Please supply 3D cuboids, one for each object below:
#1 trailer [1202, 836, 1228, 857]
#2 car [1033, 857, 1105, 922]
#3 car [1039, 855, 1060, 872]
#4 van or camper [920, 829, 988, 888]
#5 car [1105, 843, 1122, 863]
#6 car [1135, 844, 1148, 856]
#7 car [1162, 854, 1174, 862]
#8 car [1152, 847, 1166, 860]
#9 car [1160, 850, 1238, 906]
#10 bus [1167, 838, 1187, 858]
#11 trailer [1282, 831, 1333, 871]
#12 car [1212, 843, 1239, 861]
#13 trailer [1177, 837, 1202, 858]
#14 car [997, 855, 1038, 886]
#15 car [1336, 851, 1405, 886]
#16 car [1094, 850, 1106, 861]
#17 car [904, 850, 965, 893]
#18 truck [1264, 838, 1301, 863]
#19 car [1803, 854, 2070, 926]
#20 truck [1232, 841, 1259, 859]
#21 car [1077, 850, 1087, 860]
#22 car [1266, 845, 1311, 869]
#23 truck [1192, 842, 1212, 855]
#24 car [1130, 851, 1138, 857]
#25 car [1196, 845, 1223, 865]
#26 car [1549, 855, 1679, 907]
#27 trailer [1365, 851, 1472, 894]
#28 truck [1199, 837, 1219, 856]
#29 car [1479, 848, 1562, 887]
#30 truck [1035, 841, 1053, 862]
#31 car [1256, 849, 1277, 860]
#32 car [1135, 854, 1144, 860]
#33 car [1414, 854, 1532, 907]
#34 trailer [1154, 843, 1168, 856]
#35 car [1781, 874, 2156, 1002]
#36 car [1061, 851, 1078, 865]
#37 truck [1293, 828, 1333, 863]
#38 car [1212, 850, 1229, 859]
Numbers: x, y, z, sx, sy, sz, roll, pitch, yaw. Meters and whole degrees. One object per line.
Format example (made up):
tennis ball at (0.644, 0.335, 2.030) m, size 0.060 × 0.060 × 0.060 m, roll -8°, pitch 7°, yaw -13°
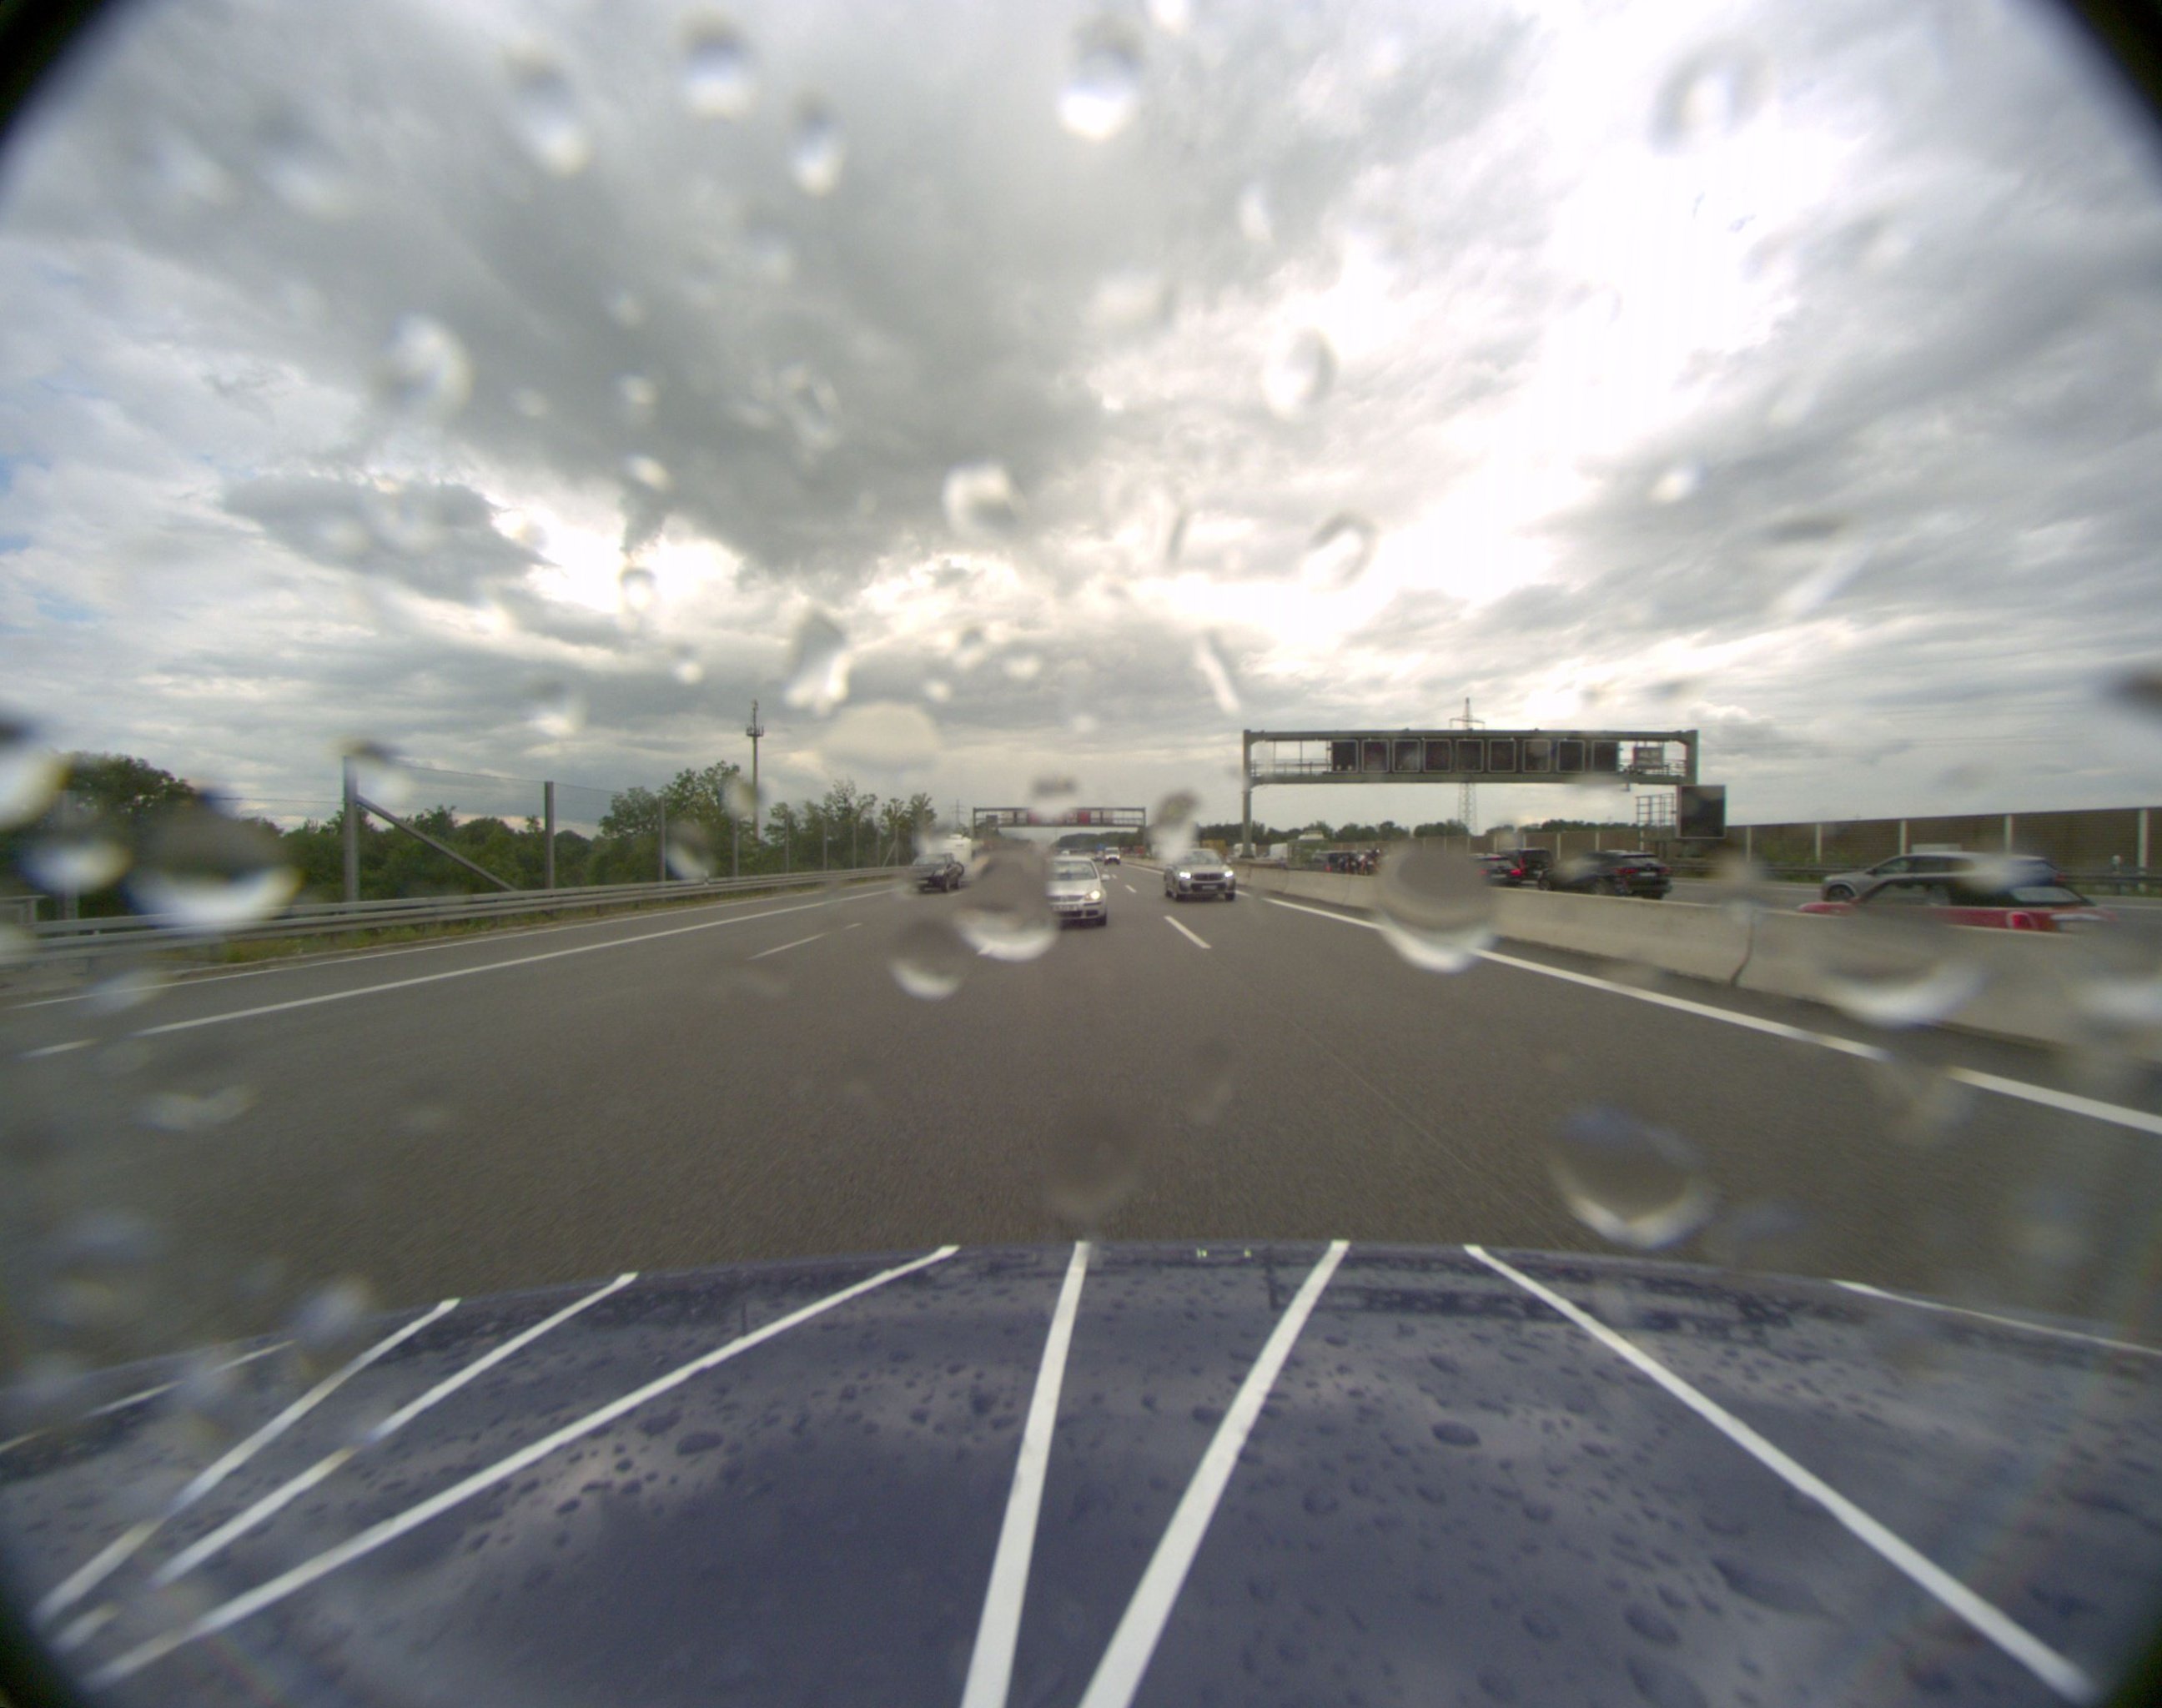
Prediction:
trailer at (26.831, -1.538, 152.861) m, size 3.036 × 3.910 × 12.973 m, roll -1°, pitch 1°, yaw 1°
car at (-0.305, 0.857, 20.247) m, size 1.683 × 1.437 × 3.999 m, roll -2°, pitch 1°, yaw -1°
car at (-2.911, 0.867, 70.437) m, size 1.841 × 1.437 × 3.999 m, roll -2°, pitch 0°, yaw -1°
van or camper at (-6.559, 0.209, 40.242) m, size 2.390 × 2.722 × 7.208 m, roll -2°, pitch 0°, yaw -1°
car at (4.353, -0.103, 102.385) m, size 1.999 × 2.524 × 4.807 m, roll -2°, pitch 0°, yaw -1°
car at (21.278, -1.369, 269.141) m, size 2.990 × 4.100 × 14.393 m, roll -2°, pitch 0°, yaw -1°
car at (15.450, 0.696, 134.444) m, size 1.618 × 1.380 × 3.328 m, roll -1°, pitch 0°, yaw -1°
car at (15.168, -0.043, 147.283) m, size 2.141 × 2.338 × 5.710 m, roll -2°, pitch 0°, yaw 1°
car at (3.746, 0.710, 24.963) m, size 1.840 × 1.615 × 4.915 m, roll -2°, pitch 0°, yaw 1°
bus at (18.821, -1.220, 149.773) m, size 2.660 × 3.658 × 10.633 m, roll -1°, pitch 1°, yaw 1°
trailer at (18.853, -0.242, 63.567) m, size 2.455 × 3.120 × 6.050 m, roll -1°, pitch 0°, yaw 1°
car at (17.638, -0.212, 93.104) m, size 2.249 × 2.101 × 5.540 m, roll -1°, pitch 1°, yaw 1°
trailer at (22.323, -1.314, 156.676) m, size 2.893 × 3.938 × 14.297 m, roll -2°, pitch 0°, yaw 0°
car at (-3.152, 0.777, 38.372) m, size 1.718 × 1.437 × 3.999 m, roll -2°, pitch 0°, yaw -1°
car at (14.862, 0.693, 39.291) m, size 1.821 × 1.699 × 4.806 m, roll -1°, pitch 1°, yaw 1°
car at (3.674, 0.221, 145.006) m, size 1.999 × 2.002 × 3.999 m, roll -2°, pitch 0°, yaw -1°
car at (-6.537, 0.747, 34.384) m, size 1.925 × 1.766 × 4.502 m, roll -2°, pitch 0°, yaw -1°
truck at (22.257, -0.420, 84.195) m, size 2.249 × 2.589 × 6.557 m, roll -1°, pitch 1°, yaw -1°
car at (21.736, 0.820, 19.651) m, size 1.826 × 1.621 × 4.525 m, roll -1°, pitch 0°, yaw 0°
truck at (26.056, -0.616, 120.631) m, size 2.698 × 2.798 × 7.834 m, roll -1°, pitch 1°, yaw 1°
car at (0.265, 0.117, 162.420) m, size 1.999 × 2.002 × 3.999 m, roll -2°, pitch 0°, yaw -1°
car at (18.939, 0.274, 69.718) m, size 2.455 × 2.039 × 6.193 m, roll -1°, pitch 0°, yaw 1°
truck at (18.944, -0.807, 119.553) m, size 2.249 × 1.988 × 5.544 m, roll -1°, pitch 1°, yaw 0°
car at (14.118, -0.019, 202.278) m, size 1.792 × 1.373 × 4.860 m, roll -2°, pitch 0°, yaw -1°
car at (14.761, 0.075, 87.578) m, size 2.235 × 2.224 × 5.512 m, roll -1°, pitch 1°, yaw 1°
car at (18.456, 0.866, 26.561) m, size 1.751 × 1.621 × 4.166 m, roll -1°, pitch 0°, yaw 2°
trailer at (14.845, 0.733, 33.863) m, size 2.149 × 1.699 × 6.046 m, roll -1°, pitch 1°, yaw 1°
truck at (26.951, -1.556, 160.129) m, size 3.036 × 3.910 × 7.710 m, roll -1°, pitch 1°, yaw 1°
car at (21.980, 0.649, 38.211) m, size 1.752 × 1.837 × 4.165 m, roll -1°, pitch 0°, yaw 0°
truck at (-6.706, -0.514, 139.301) m, size 2.870 × 3.633 × 9.593 m, roll -2°, pitch 0°, yaw -1°
car at (25.988, 0.040, 106.400) m, size 1.812 × 1.479 × 4.773 m, roll -1°, pitch 1°, yaw 1°
car at (14.364, 0.745, 186.557) m, size 1.792 × 1.373 × 4.588 m, roll -2°, pitch 0°, yaw -1°
car at (14.262, 0.895, 28.001) m, size 1.885 × 1.734 × 5.110 m, roll -1°, pitch 0°, yaw 2°
trailer at (26.186, -1.519, 248.803) m, size 2.908 × 4.092 × 12.697 m, roll -2°, pitch 0°, yaw -1°
car at (13.930, 1.214, 12.323) m, size 1.752 × 1.621 × 3.748 m, roll -1°, pitch 0°, yaw 1°
car at (-1.496, 0.453, 96.711) m, size 1.999 × 1.701 × 3.999 m, roll -2°, pitch 0°, yaw -2°
truck at (26.416, -0.922, 86.612) m, size 2.759 × 3.865 × 6.050 m, roll -1°, pitch 0°, yaw 1°
car at (22.519, 0.050, 122.634) m, size 1.969 × 1.378 × 4.944 m, roll -1°, pitch 1°, yaw 1°
